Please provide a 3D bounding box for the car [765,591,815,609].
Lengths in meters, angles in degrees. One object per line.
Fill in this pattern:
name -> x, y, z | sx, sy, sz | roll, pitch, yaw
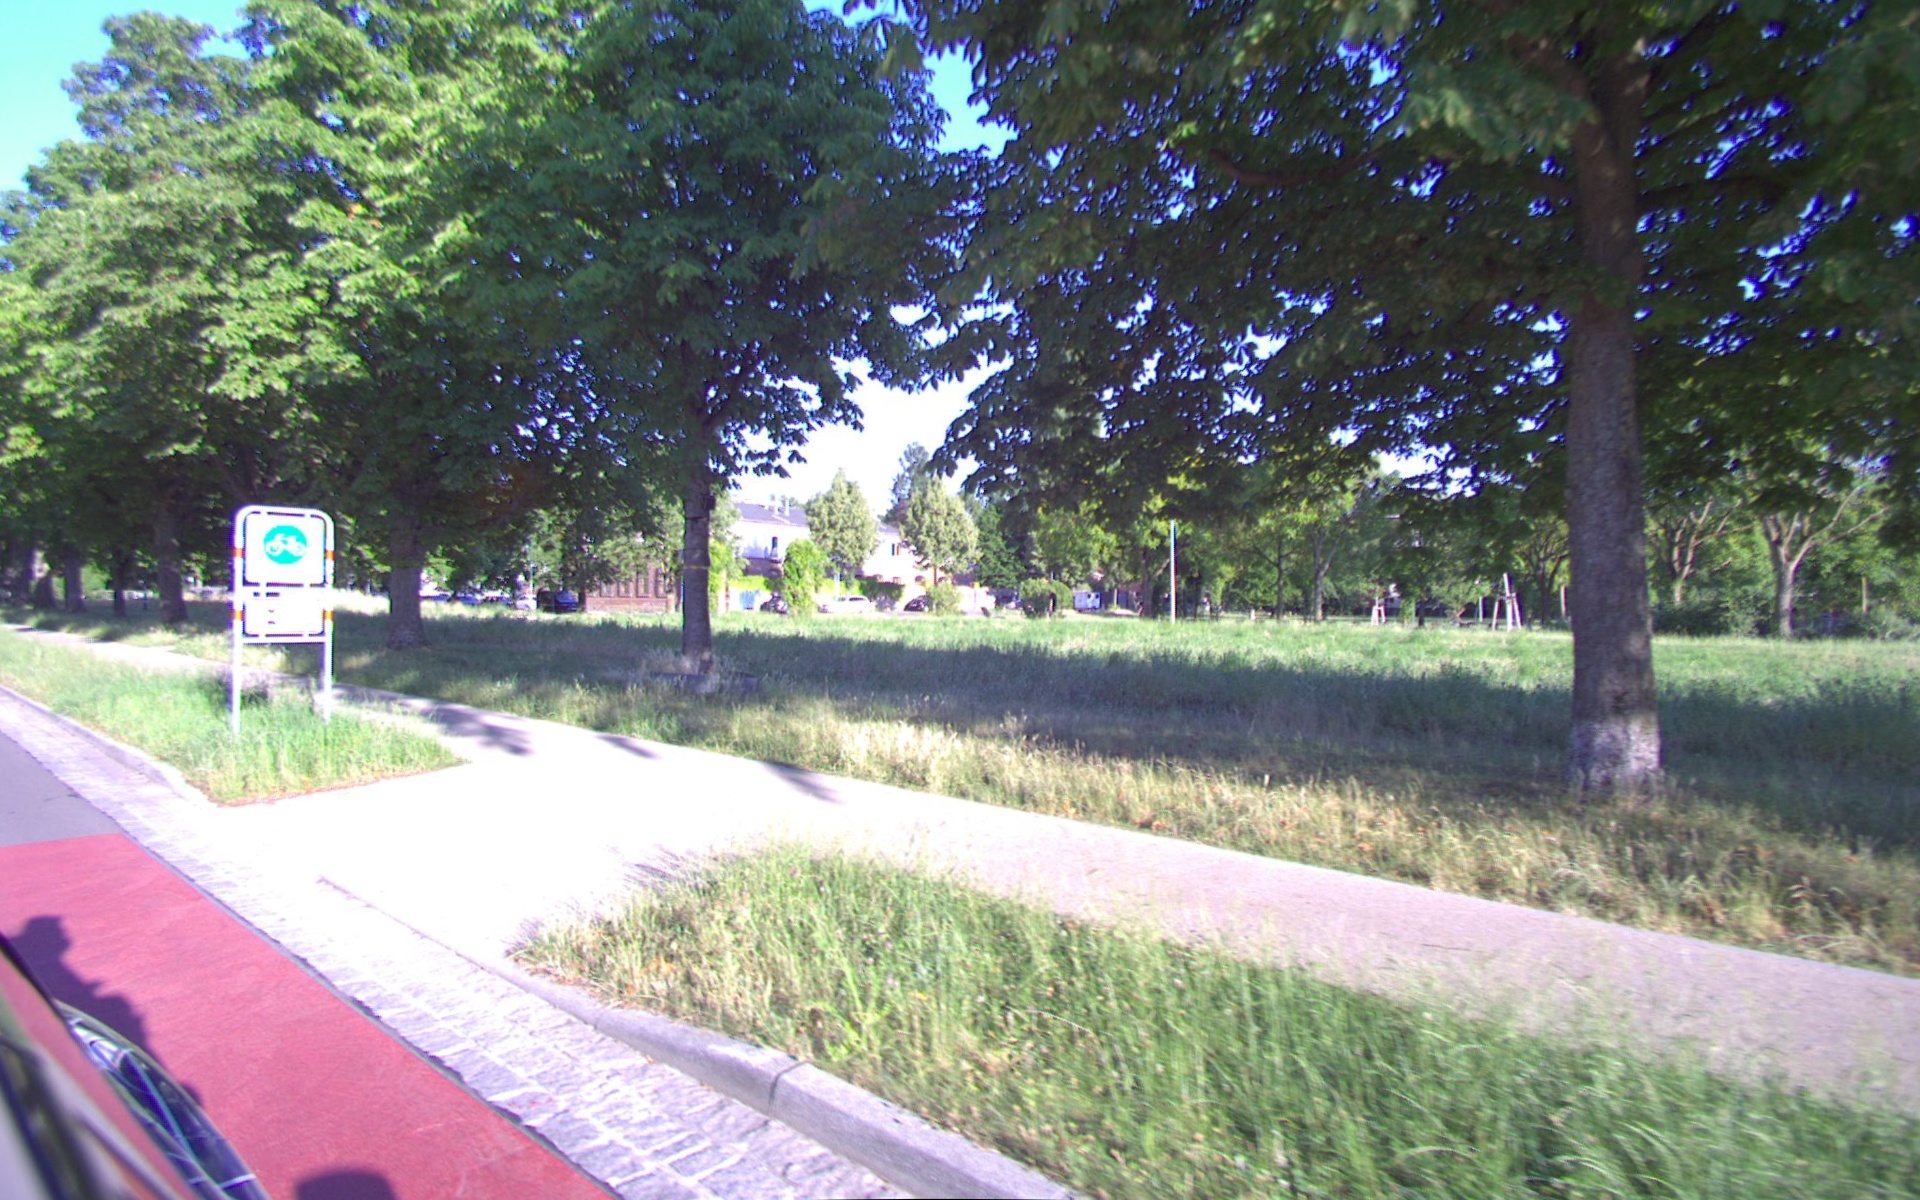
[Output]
car -> -13.125, -0.018, 78.072 | 1.586, 1.289, 3.589 | 1, 2, 42

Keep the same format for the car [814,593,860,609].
car -> -9.981, 0.066, 82.193 | 1.586, 1.289, 3.589 | 1, 2, 42

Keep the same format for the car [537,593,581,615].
car -> -29.376, 0.277, 74.048 | 3.639, 1.492, 1.564 | 2, 2, 42

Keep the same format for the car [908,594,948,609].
car -> -2.855, 0.095, 91.625 | 1.586, 1.289, 3.589 | 1, 2, 42

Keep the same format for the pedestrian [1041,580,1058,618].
pedestrian -> 4.202, -0.045, 47.413 | 0.709, 1.737, 0.774 | 1, 1, 13

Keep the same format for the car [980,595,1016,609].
car -> 3.793, 0.211, 100.375 | 1.586, 1.289, 3.589 | 1, 2, 42
